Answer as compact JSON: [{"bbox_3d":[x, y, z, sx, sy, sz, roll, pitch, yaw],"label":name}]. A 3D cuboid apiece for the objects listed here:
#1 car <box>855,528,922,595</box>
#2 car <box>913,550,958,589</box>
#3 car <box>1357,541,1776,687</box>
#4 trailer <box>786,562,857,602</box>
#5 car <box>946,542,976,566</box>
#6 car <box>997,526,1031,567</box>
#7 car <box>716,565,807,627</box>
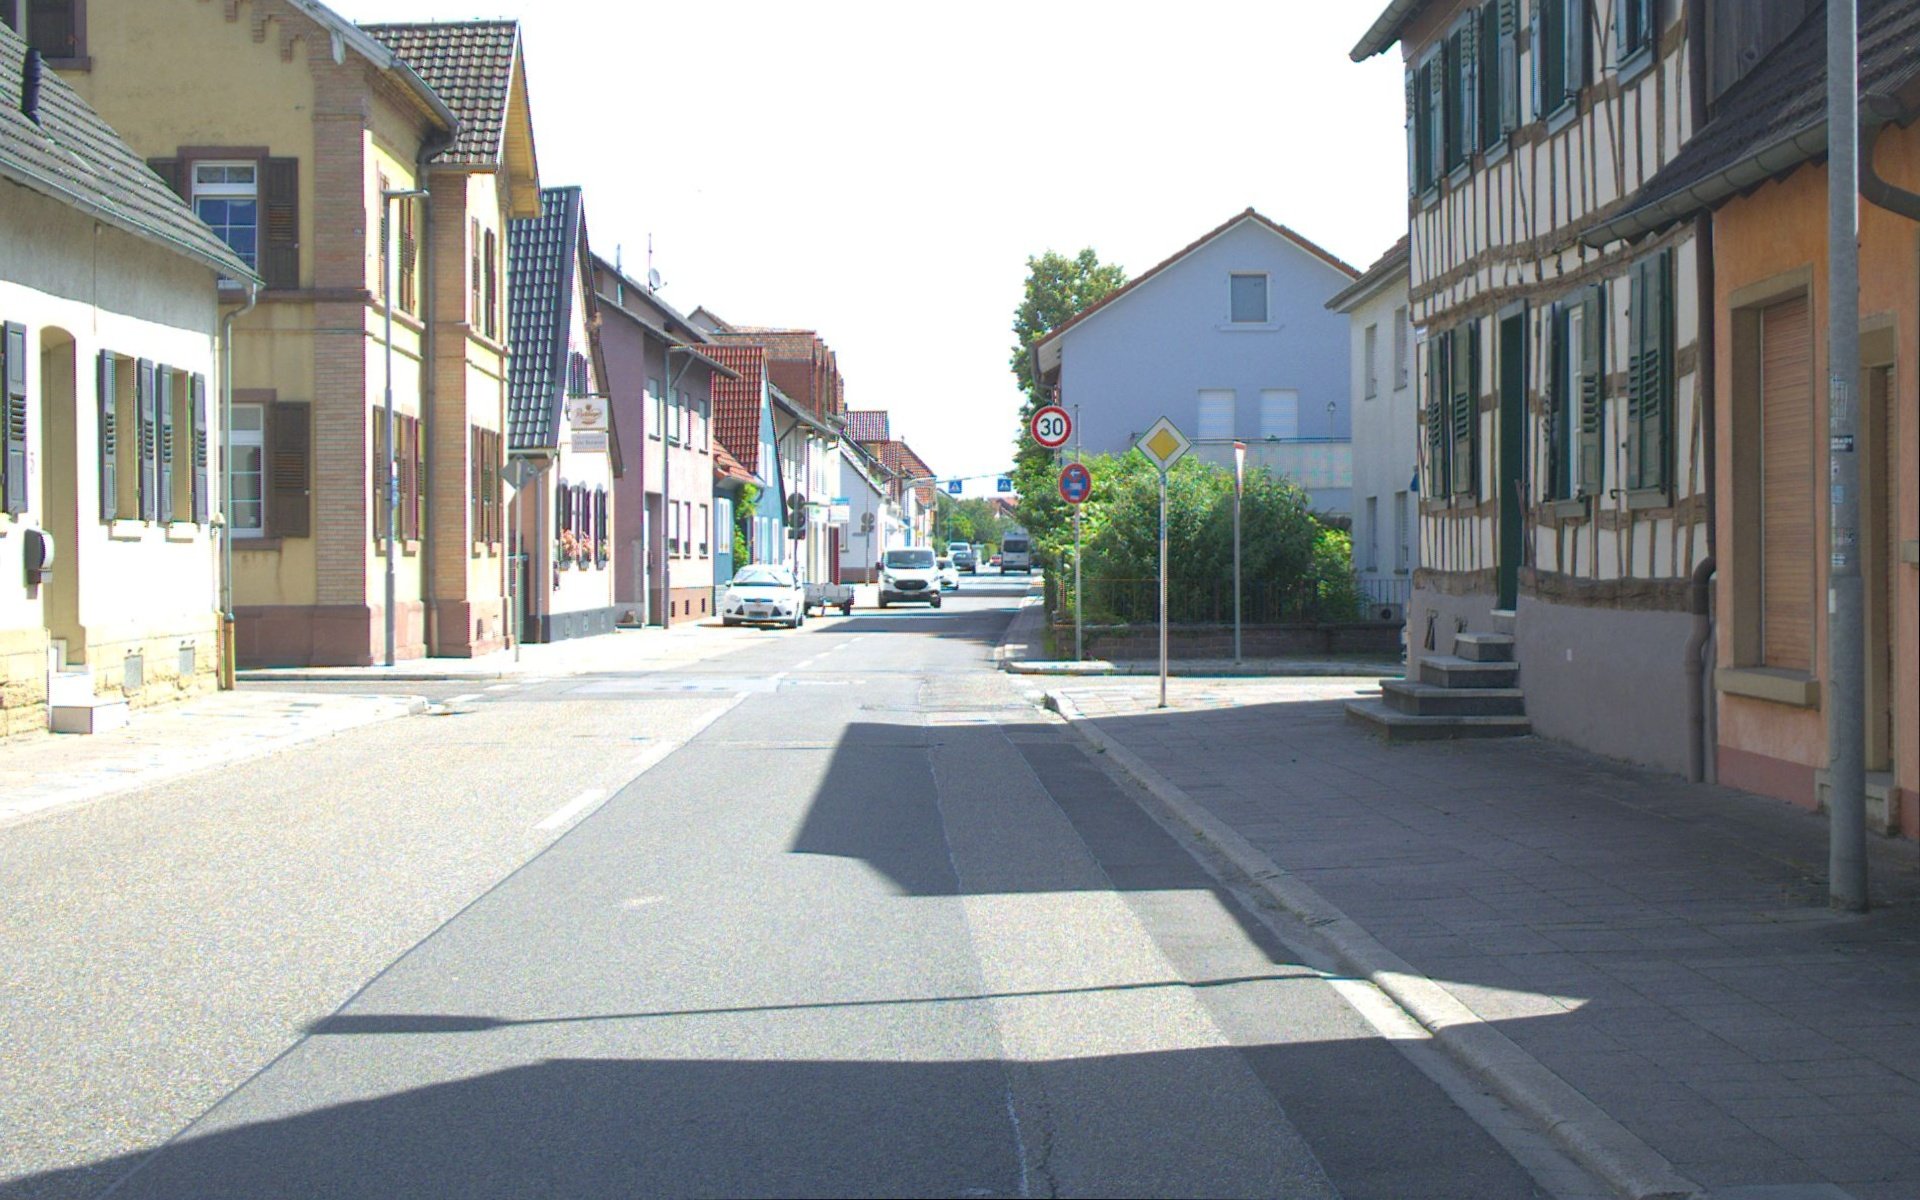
[{"bbox_3d":[-2.344,-1.244,112.703,2.158,2.073,4.000,-1,-1,-1],"label":"car"},{"bbox_3d":[-1.097,-1.383,154.922,1.993,1.744,4.000,1,1,0],"label":"car"},{"bbox_3d":[6.384,0.124,36.485,3.986,1.437,2.000,-1,1,-4],"label":"car"},{"bbox_3d":[-4.017,-0.545,100.058,1.993,1.086,4.000,-1,1,-1],"label":"trailer"},{"bbox_3d":[0.054,-2.993,223.044,1.867,1.539,3.838,-1,1,-1],"label":"car"},{"bbox_3d":[3.425,-3.408,220.072,2.017,2.559,4.000,0,1,-1],"label":"car"},{"bbox_3d":[-4.785,-0.107,83.342,1.993,1.437,4.000,0,1,0],"label":"car"}]
